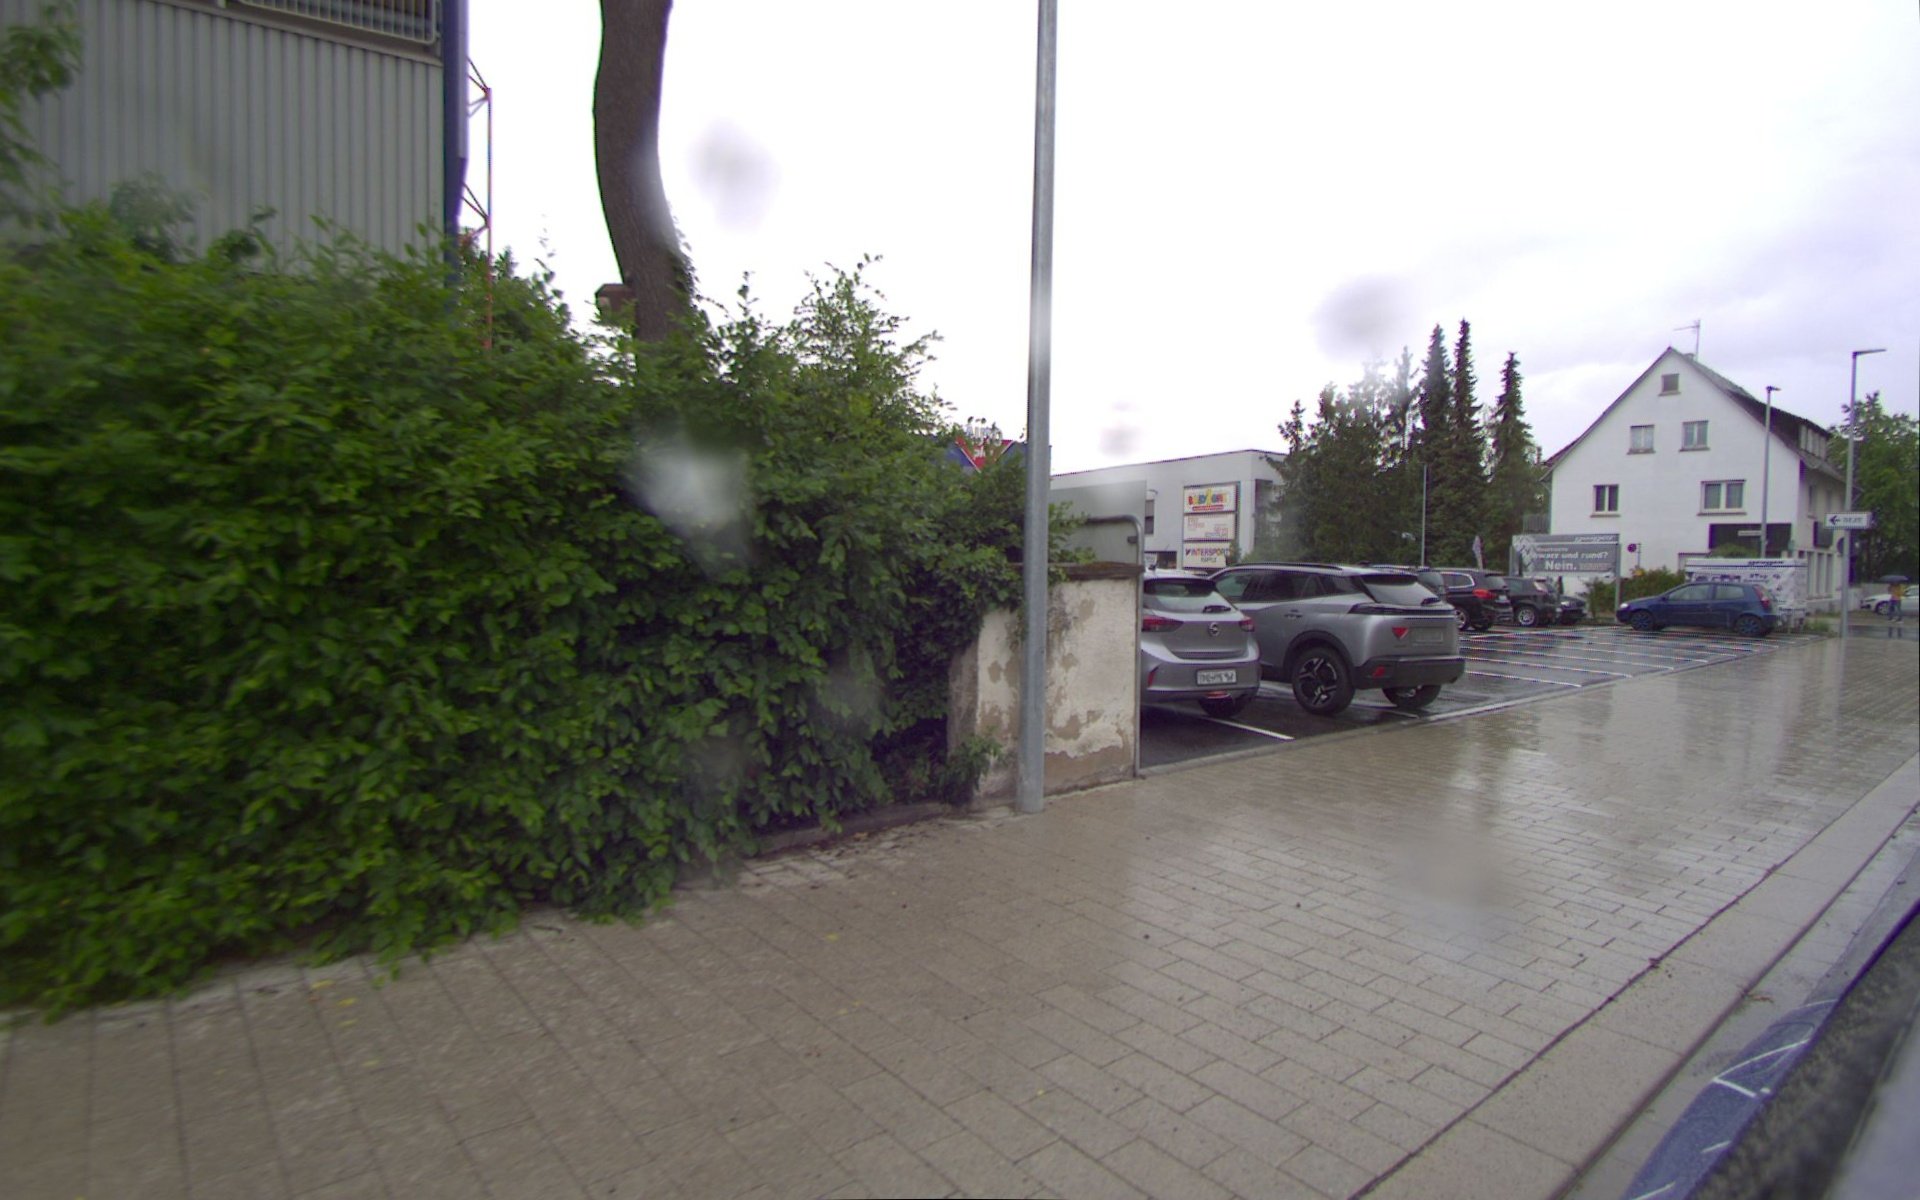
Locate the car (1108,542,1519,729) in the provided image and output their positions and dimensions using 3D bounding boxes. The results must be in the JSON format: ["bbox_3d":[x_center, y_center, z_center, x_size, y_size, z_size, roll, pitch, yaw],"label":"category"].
[{"bbox_3d":[3.859,0.231,11.830,1.960,1.669,4.228,0,4,-30],"label":"car"}]

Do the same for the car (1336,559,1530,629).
[{"bbox_3d":[12.622,-0.230,27.208,1.813,1.672,4.362,-1,3,-42],"label":"car"}]

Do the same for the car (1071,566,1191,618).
[{"bbox_3d":[6.094,-0.331,36.576,1.828,1.602,4.375,0,3,-31],"label":"car"}]

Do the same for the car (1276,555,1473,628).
[{"bbox_3d":[10.544,-0.277,26.014,1.754,1.679,4.366,0,3,-39],"label":"car"}]

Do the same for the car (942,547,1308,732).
[{"bbox_3d":[1.501,0.249,10.459,1.770,1.512,3.638,0,3,-31],"label":"car"}]

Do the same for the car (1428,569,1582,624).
[{"bbox_3d":[16.411,-0.149,30.585,1.702,1.467,3.730,-1,3,-43],"label":"car"}]

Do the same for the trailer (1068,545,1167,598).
[{"bbox_3d":[9.002,-1.587,58.566,2.875,2.770,5.899,-2,0,-24],"label":"trailer"}]

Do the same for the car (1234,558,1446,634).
[{"bbox_3d":[8.924,-0.171,24.058,1.808,1.578,4.363,-1,3,-41],"label":"car"}]

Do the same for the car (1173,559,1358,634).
[{"bbox_3d":[6.767,-0.136,22.702,1.613,1.519,3.695,0,2,-40],"label":"car"}]

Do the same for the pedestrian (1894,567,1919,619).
[{"bbox_3d":[38.306,-0.291,40.701,1.175,2.037,0.860,0,4,-42],"label":"pedestrian"}]

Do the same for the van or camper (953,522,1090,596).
[{"bbox_3d":[2.022,-1.461,35.104,2.179,2.354,4.976,0,3,-32],"label":"van or camper"}]

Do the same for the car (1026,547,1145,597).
[{"bbox_3d":[4.340,-1.017,35.661,1.828,1.602,4.375,0,3,-31],"label":"car"}]

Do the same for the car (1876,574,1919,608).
[{"bbox_3d":[48.868,-0.376,50.712,4.119,1.599,1.974,5,3,36],"label":"car"}]

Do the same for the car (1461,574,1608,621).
[{"bbox_3d":[18.177,-0.128,32.123,1.664,1.331,3.730,-1,3,-43],"label":"car"}]

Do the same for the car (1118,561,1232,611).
[{"bbox_3d":[8.057,-0.566,38.257,1.828,1.687,4.146,0,3,-31],"label":"car"}]

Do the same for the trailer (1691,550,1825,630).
[{"bbox_3d":[23.024,-0.334,29.246,1.520,2.198,2.709,0,2,-38],"label":"trailer"}]

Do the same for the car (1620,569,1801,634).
[{"bbox_3d":[20.782,-0.023,28.129,1.621,1.547,3.735,-2,4,-40],"label":"car"}]
